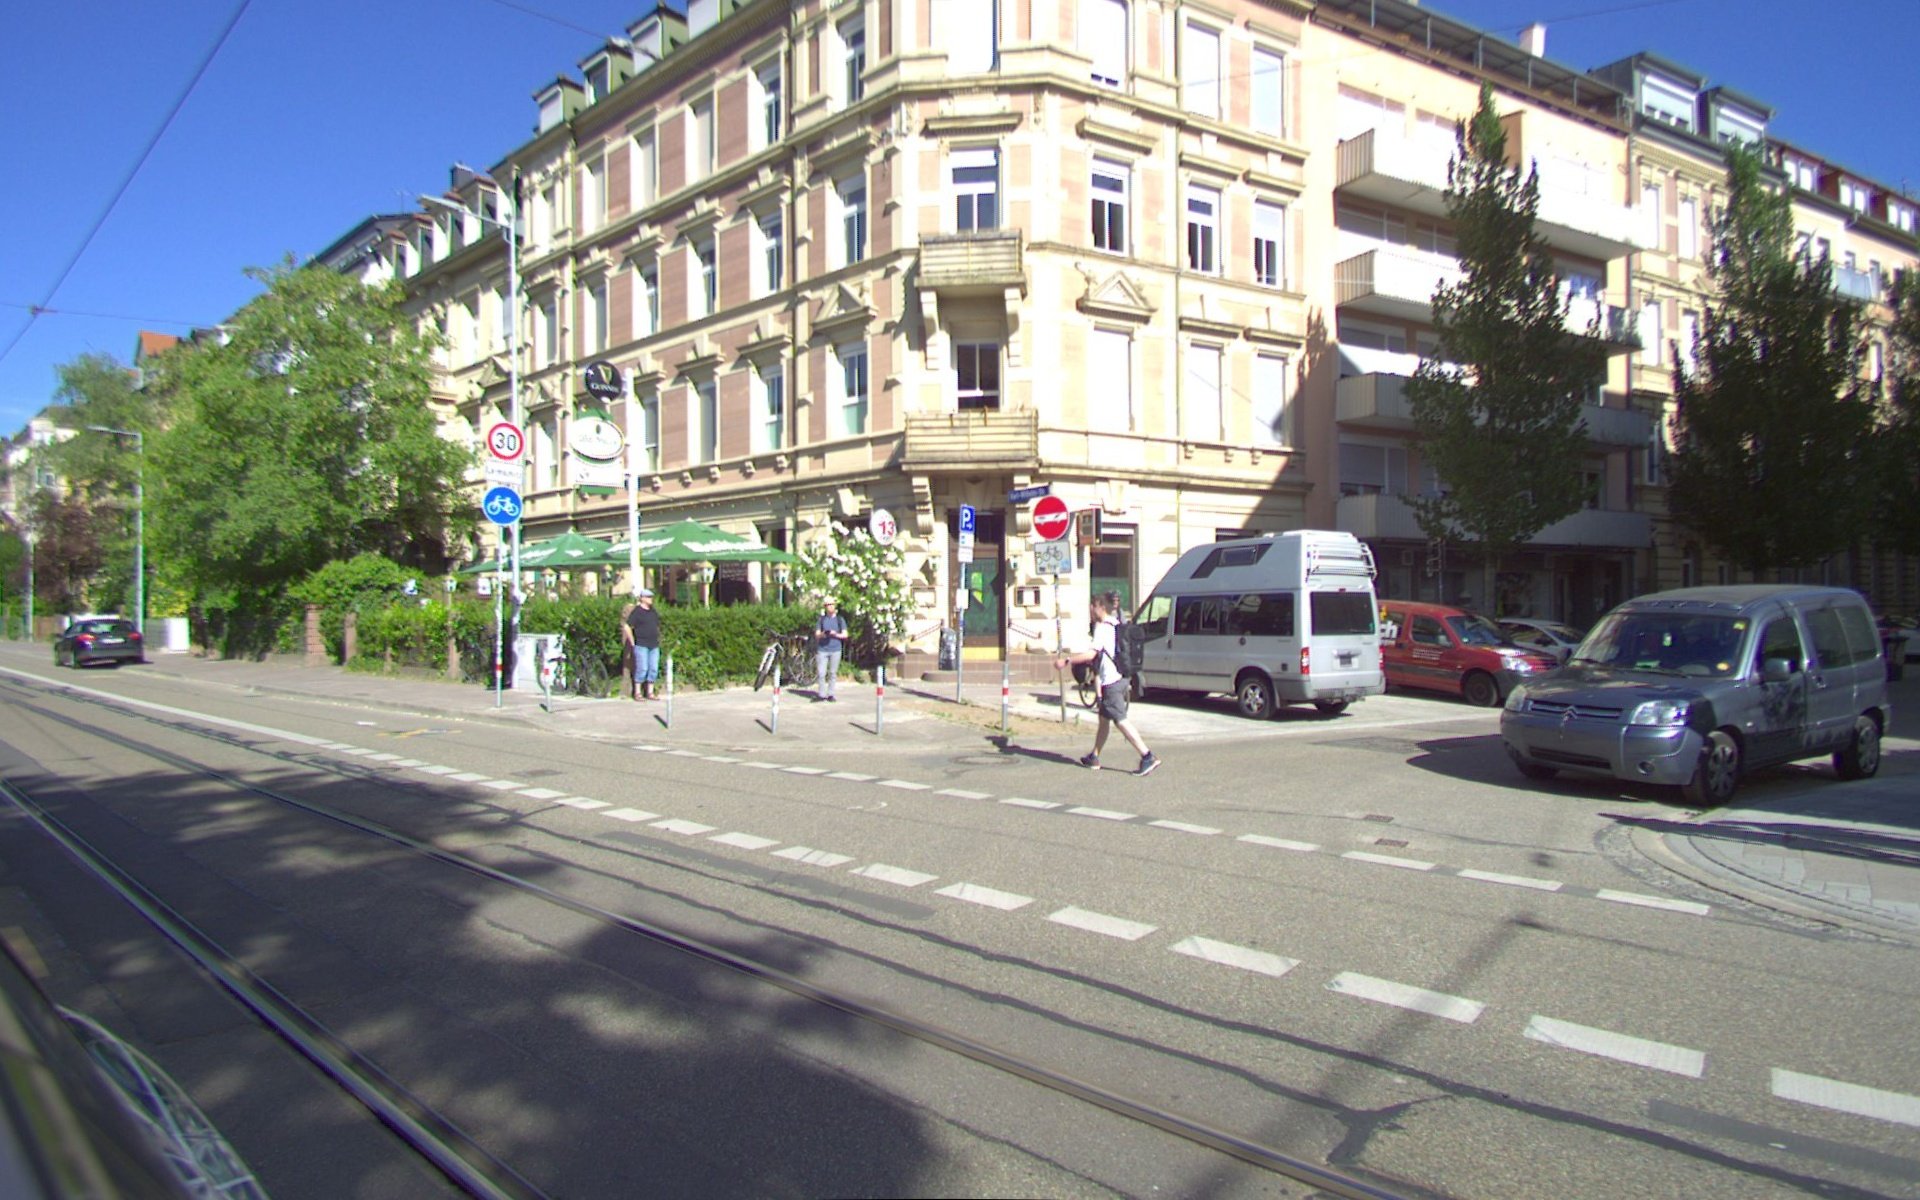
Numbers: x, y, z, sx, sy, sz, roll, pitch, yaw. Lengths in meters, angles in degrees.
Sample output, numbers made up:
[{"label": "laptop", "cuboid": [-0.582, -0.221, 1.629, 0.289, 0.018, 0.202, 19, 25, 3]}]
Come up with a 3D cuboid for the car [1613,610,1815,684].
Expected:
[{"label": "car", "cuboid": [17.865, 1.044, 24.161, 1.368, 1.566, 3.626, 0, 0, -28]}]

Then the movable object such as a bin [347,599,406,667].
[{"label": "movable object such as a bin", "cuboid": [-16.125, 0.887, 27.950, 1.268, 1.744, 1.045, -3, 1, -33]}]

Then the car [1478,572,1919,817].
[{"label": "car", "cuboid": [6.853, 0.710, 9.277, 3.984, 1.820, 1.797, 0, 0, -28]}]

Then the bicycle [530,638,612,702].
[{"label": "bicycle", "cuboid": [-6.546, 1.155, 16.993, 1.777, 0.988, 0.522, -1, -1, 41]}]

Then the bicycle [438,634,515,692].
[{"label": "bicycle", "cuboid": [-9.426, 1.200, 19.694, 2.222, 1.046, 0.508, -1, -1, 41]}]

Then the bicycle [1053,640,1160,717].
[{"label": "bicycle", "cuboid": [2.269, 1.197, 15.910, 0.694, 1.063, 1.841, 0, 0, -29]}]

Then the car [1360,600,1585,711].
[{"label": "car", "cuboid": [9.063, 0.895, 18.132, 1.428, 1.765, 3.354, 0, 0, -30]}]

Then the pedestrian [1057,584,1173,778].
[{"label": "pedestrian", "cuboid": [1.508, 0.750, 9.848, 0.866, 1.781, 0.684, -1, -1, 42]}]

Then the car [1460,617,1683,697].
[{"label": "car", "cuboid": [12.319, 1.085, 20.619, 1.548, 1.412, 3.605, 0, 0, -28]}]

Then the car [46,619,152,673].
[{"label": "car", "cuboid": [-27.320, 1.427, 32.081, 4.586, 1.588, 1.845, -1, -3, 41]}]

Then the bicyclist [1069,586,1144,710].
[{"label": "bicyclist", "cuboid": [2.289, 0.718, 15.879, 0.694, 1.868, 0.989, 0, 0, -29]}]

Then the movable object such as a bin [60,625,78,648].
[{"label": "movable object such as a bin", "cuboid": [-45.890, 1.872, 52.134, 0.664, 1.184, 0.583, -1, -1, 36]}]

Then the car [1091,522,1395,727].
[{"label": "car", "cuboid": [4.435, 0.336, 16.659, 1.860, 2.862, 4.797, 0, 0, -32]}]

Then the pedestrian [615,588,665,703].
[{"label": "pedestrian", "cuboid": [-5.138, 0.714, 16.252, 0.538, 1.795, 0.551, -1, -1, 37]}]

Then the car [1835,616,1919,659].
[{"label": "car", "cuboid": [27.778, 1.086, 28.981, 1.368, 1.195, 3.871, 0, 0, -28]}]

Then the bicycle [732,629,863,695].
[{"label": "bicycle", "cuboid": [-2.925, 1.088, 18.370, 2.211, 1.052, 0.877, 0, 0, -40]}]

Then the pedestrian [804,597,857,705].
[{"label": "pedestrian", "cuboid": [-2.074, 0.782, 16.121, 0.695, 1.667, 0.835, 0, 0, -18]}]
